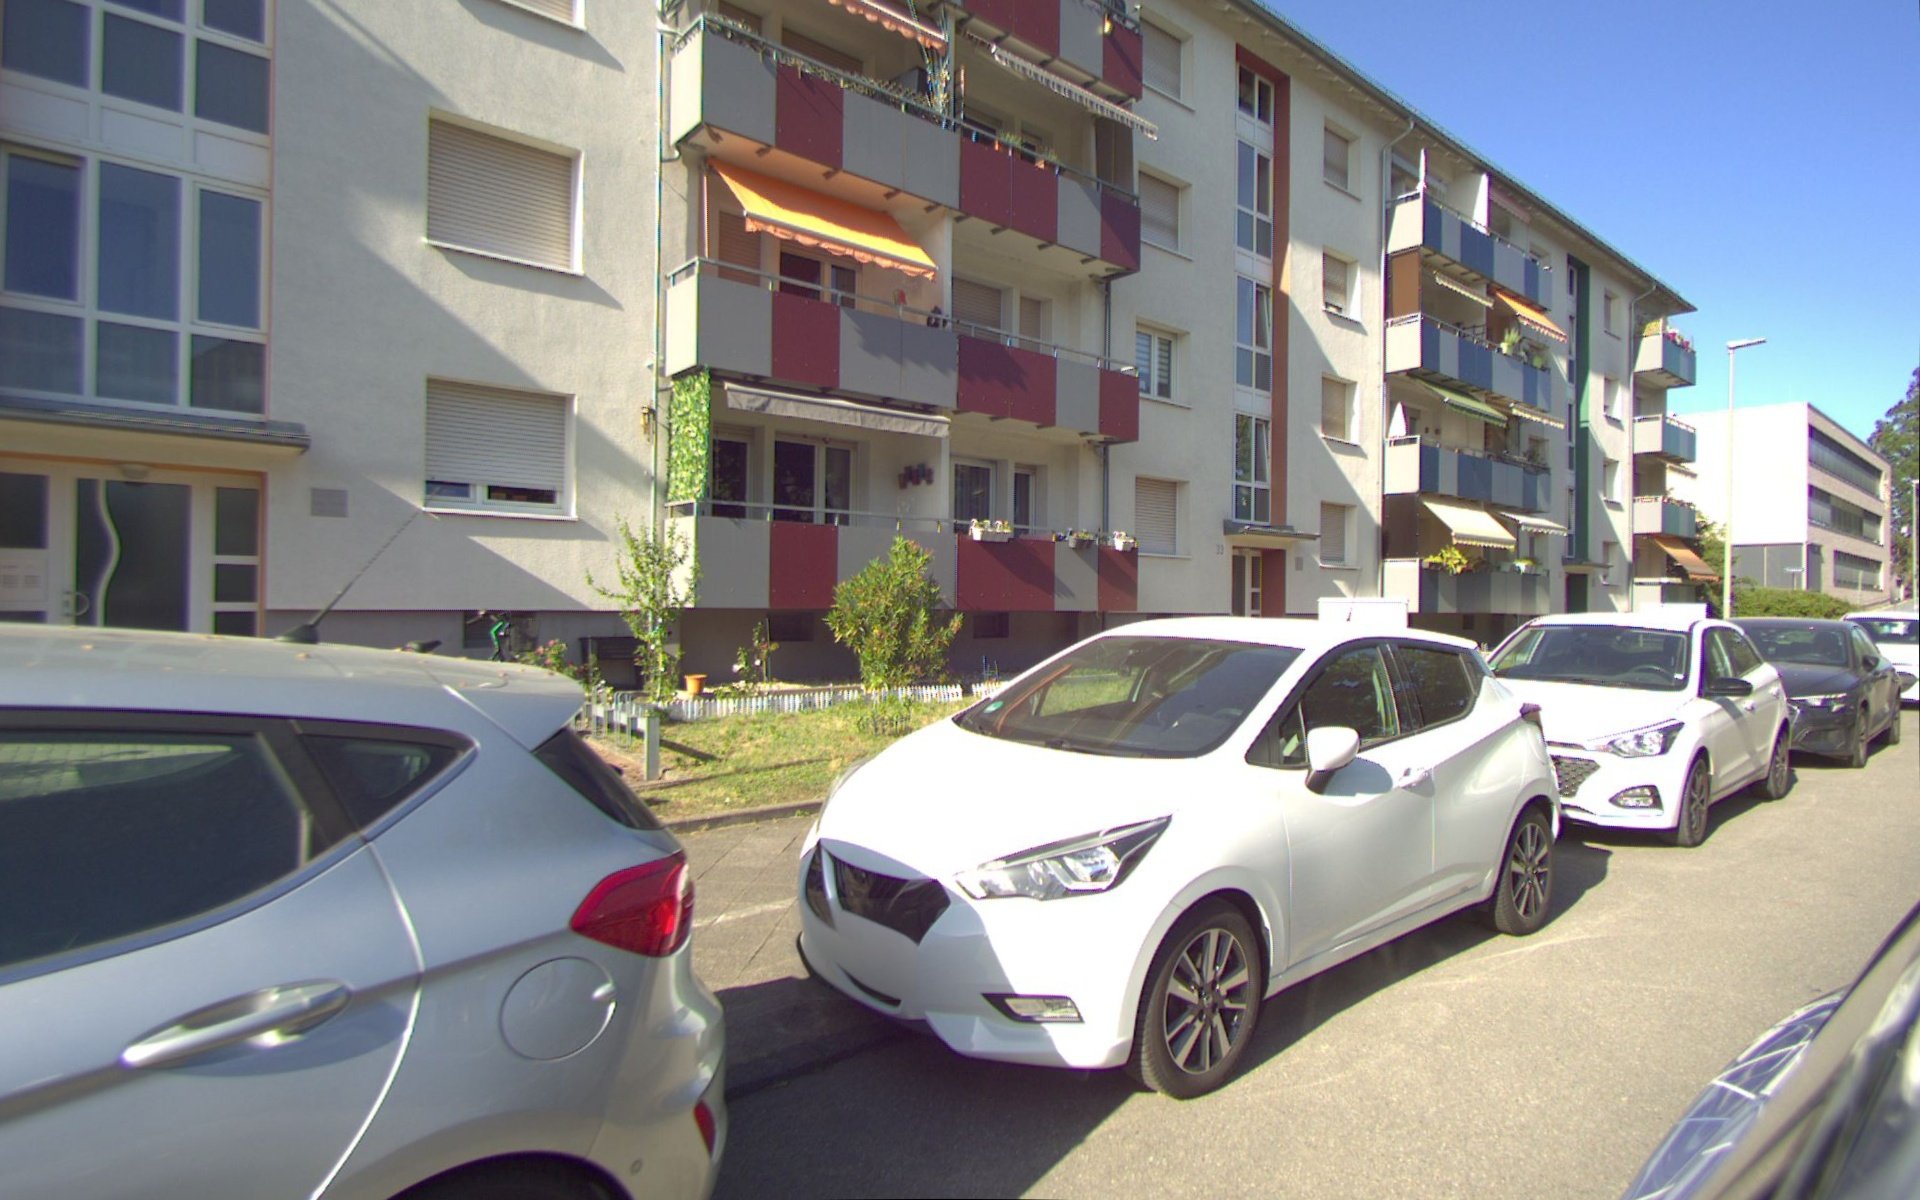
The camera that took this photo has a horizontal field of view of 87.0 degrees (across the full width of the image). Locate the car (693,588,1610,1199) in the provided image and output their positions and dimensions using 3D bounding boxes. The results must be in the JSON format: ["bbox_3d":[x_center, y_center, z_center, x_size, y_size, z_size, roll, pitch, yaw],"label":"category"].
[{"bbox_3d":[1.117,0.723,4.530,4.066,1.494,1.882,0,0,-40],"label":"car"}]

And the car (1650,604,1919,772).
[{"bbox_3d":[9.333,0.805,11.249,4.394,1.453,1.702,0,2,-42],"label":"car"}]

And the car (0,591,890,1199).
[{"bbox_3d":[-2.293,0.735,1.429,4.129,1.484,1.851,1,-1,-41],"label":"car"}]

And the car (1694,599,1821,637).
[{"bbox_3d":[37.156,0.793,47.224,1.881,1.644,4.413,1,0,-42],"label":"car"}]

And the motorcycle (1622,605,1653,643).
[{"bbox_3d":[21.410,0.741,31.967,0.582,1.166,2.007,0,0,41],"label":"motorcycle"}]

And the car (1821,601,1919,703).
[{"bbox_3d":[15.692,0.800,16.787,3.796,1.518,1.750,0,1,-43],"label":"car"}]

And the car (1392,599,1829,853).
[{"bbox_3d":[5.200,0.741,7.878,4.078,1.453,1.725,0,0,-40],"label":"car"}]

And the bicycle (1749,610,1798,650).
[{"bbox_3d":[23.683,0.856,29.450,1.862,1.091,0.721,0,0,-39],"label":"bicycle"}]

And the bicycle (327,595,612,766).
[{"bbox_3d":[-3.899,0.576,8.169,1.979,1.191,0.597,-2,1,-41],"label":"bicycle"}]

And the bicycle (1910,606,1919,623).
[{"bbox_3d":[64.678,1.013,67.352,0.867,1.076,2.029,1,3,-40],"label":"bicycle"}]

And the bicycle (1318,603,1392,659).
[{"bbox_3d":[8.140,0.611,20.827,1.974,1.084,0.524,0,2,-41],"label":"bicycle"}]
